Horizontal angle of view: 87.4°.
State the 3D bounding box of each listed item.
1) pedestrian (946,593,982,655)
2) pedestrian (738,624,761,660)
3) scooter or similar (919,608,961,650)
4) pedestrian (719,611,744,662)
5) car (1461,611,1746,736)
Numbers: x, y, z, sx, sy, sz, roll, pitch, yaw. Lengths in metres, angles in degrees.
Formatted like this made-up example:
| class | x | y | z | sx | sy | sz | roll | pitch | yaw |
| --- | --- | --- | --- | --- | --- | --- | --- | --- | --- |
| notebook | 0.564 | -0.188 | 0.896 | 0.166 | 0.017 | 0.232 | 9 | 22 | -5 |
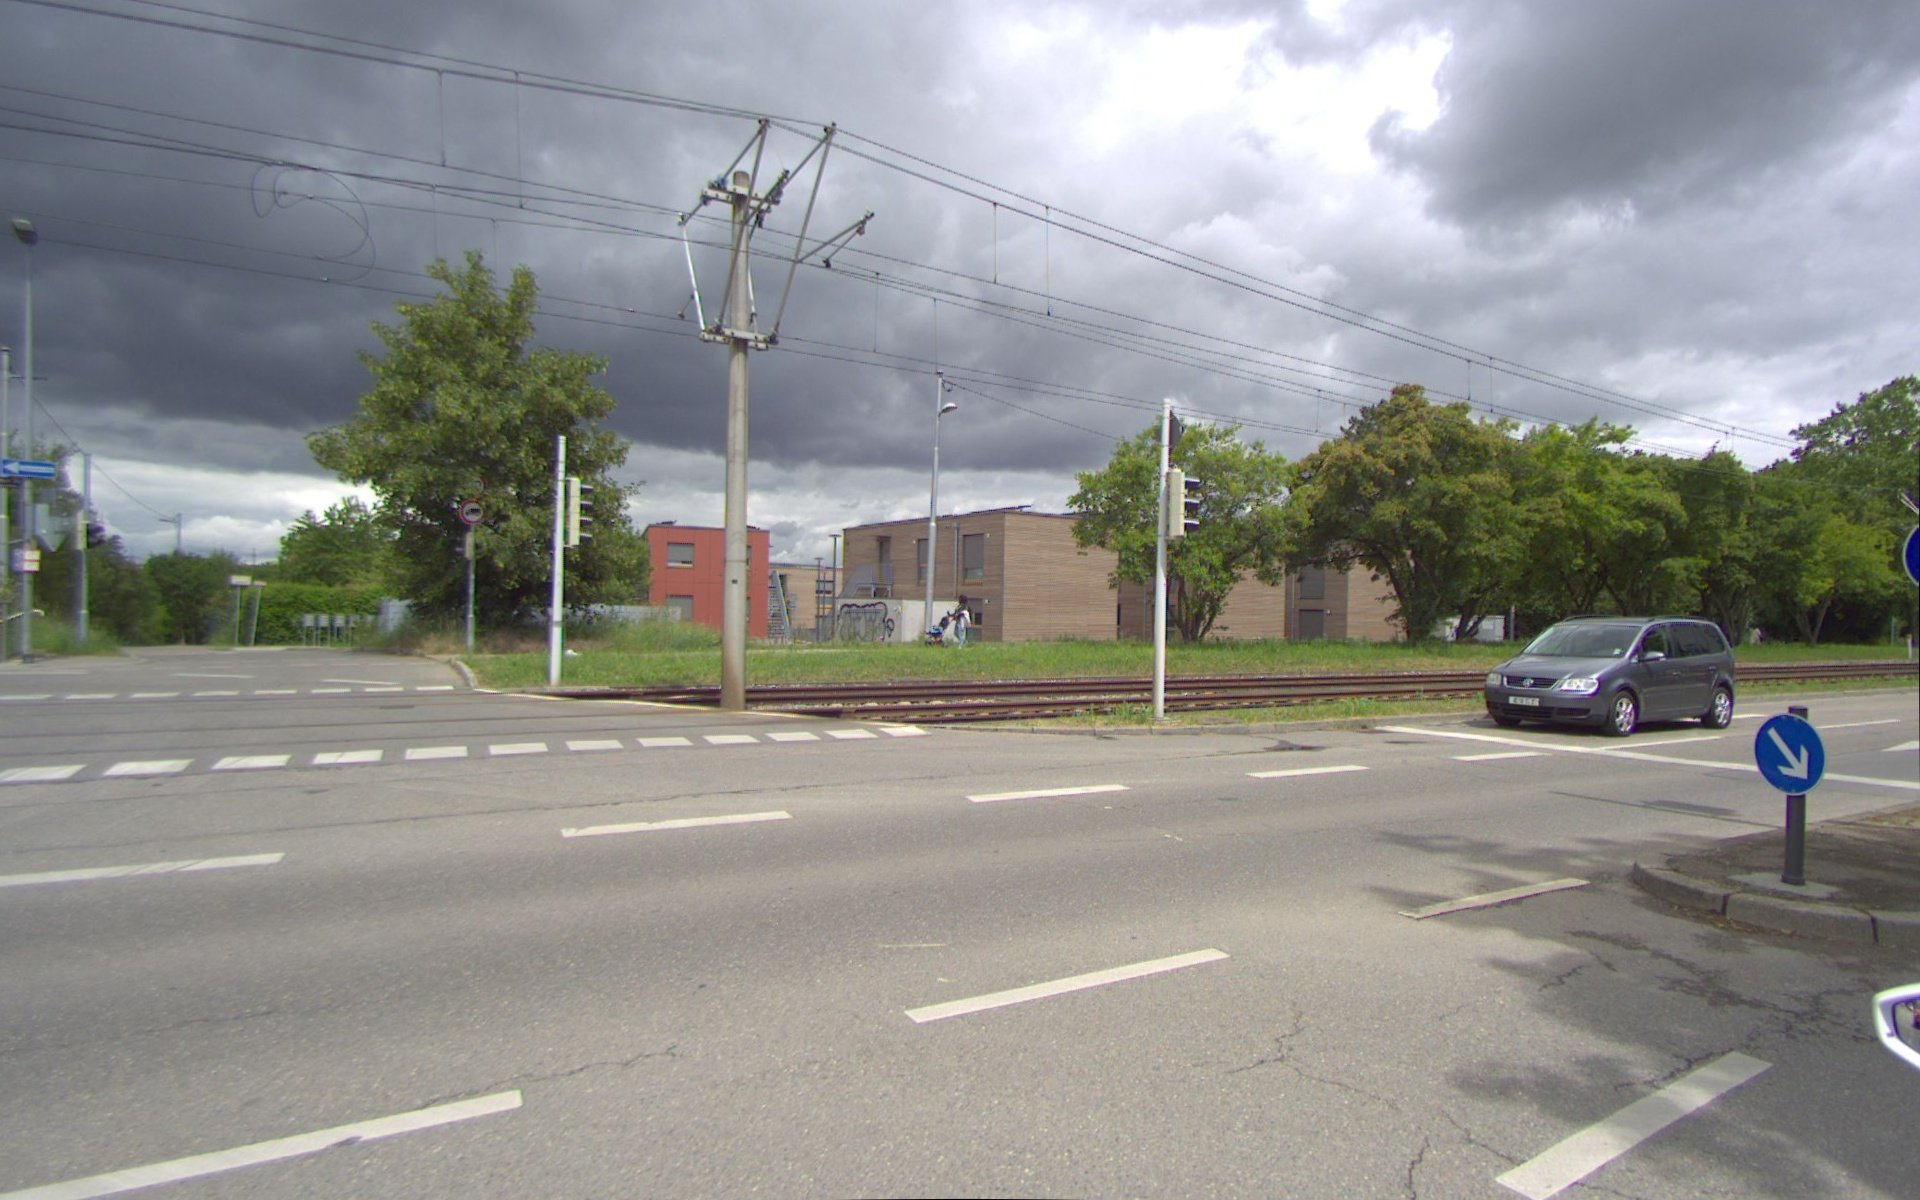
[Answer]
| class | x | y | z | sx | sy | sz | roll | pitch | yaw |
| --- | --- | --- | --- | --- | --- | --- | --- | --- | --- |
| pedestrian | 0.132 | 0.738 | 30.737 | 0.798 | 1.836 | 0.799 | 1 | 2 | -25 |
| pedestrian | -8.998 | 1.784 | 42.981 | 0.686 | 1.475 | 0.673 | 2 | 2 | 14 |
| scooter or similar | -0.620 | 0.878 | 30.389 | 0.960 | 1.200 | 0.887 | 1 | 2 | -27 |
| pedestrian | -9.535 | 1.512 | 41.925 | 0.659 | 2.041 | 0.700 | 2 | 2 | 24 |
| car | 9.528 | 1.002 | 14.804 | 4.293 | 1.590 | 1.775 | 1 | 0 | -30 |
